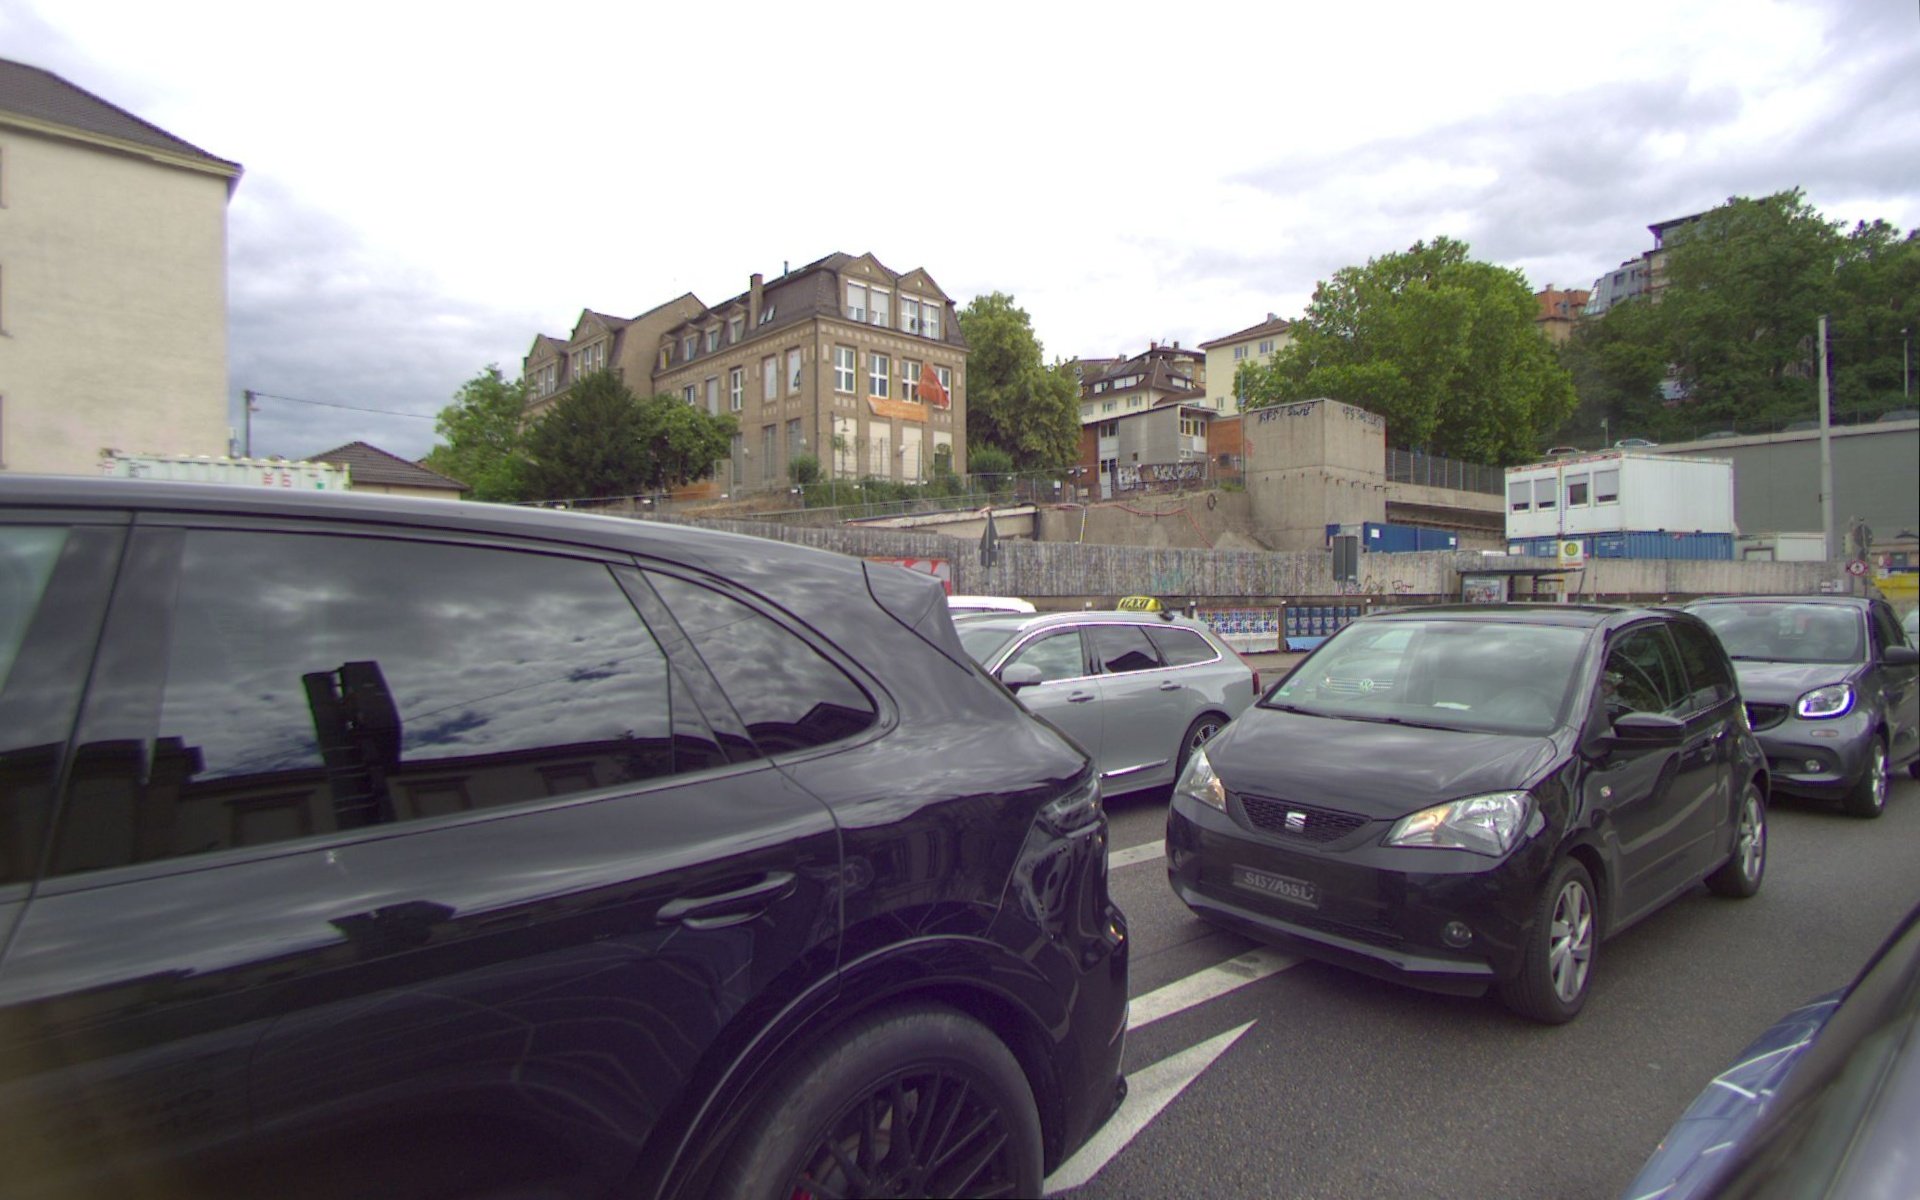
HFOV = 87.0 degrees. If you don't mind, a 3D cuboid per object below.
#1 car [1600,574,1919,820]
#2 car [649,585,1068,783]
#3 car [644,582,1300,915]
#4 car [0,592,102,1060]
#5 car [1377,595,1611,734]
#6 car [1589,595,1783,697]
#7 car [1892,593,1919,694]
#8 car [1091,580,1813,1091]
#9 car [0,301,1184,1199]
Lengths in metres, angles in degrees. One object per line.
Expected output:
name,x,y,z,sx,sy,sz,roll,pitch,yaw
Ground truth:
car,6.802,0.609,8.231,3.511,1.563,1.720,0,0,-40
car,-0.912,0.682,10.529,4.136,1.645,1.679,-1,1,-41
car,0.363,0.711,7.311,4.725,1.645,1.827,-1,1,-41
car,-5.212,0.824,3.092,3.930,1.645,1.679,-1,1,-41
car,6.525,0.681,12.317,2.667,1.449,1.664,-1,1,-41
car,11.605,0.644,16.099,3.741,1.383,1.679,-1,1,-41
car,15.977,0.629,15.706,3.738,1.477,1.680,-1,1,-39
car,2.528,0.658,4.840,3.636,1.476,1.827,-1,1,-41
car,-1.760,0.574,1.501,4.406,1.736,1.827,-1,1,-41
